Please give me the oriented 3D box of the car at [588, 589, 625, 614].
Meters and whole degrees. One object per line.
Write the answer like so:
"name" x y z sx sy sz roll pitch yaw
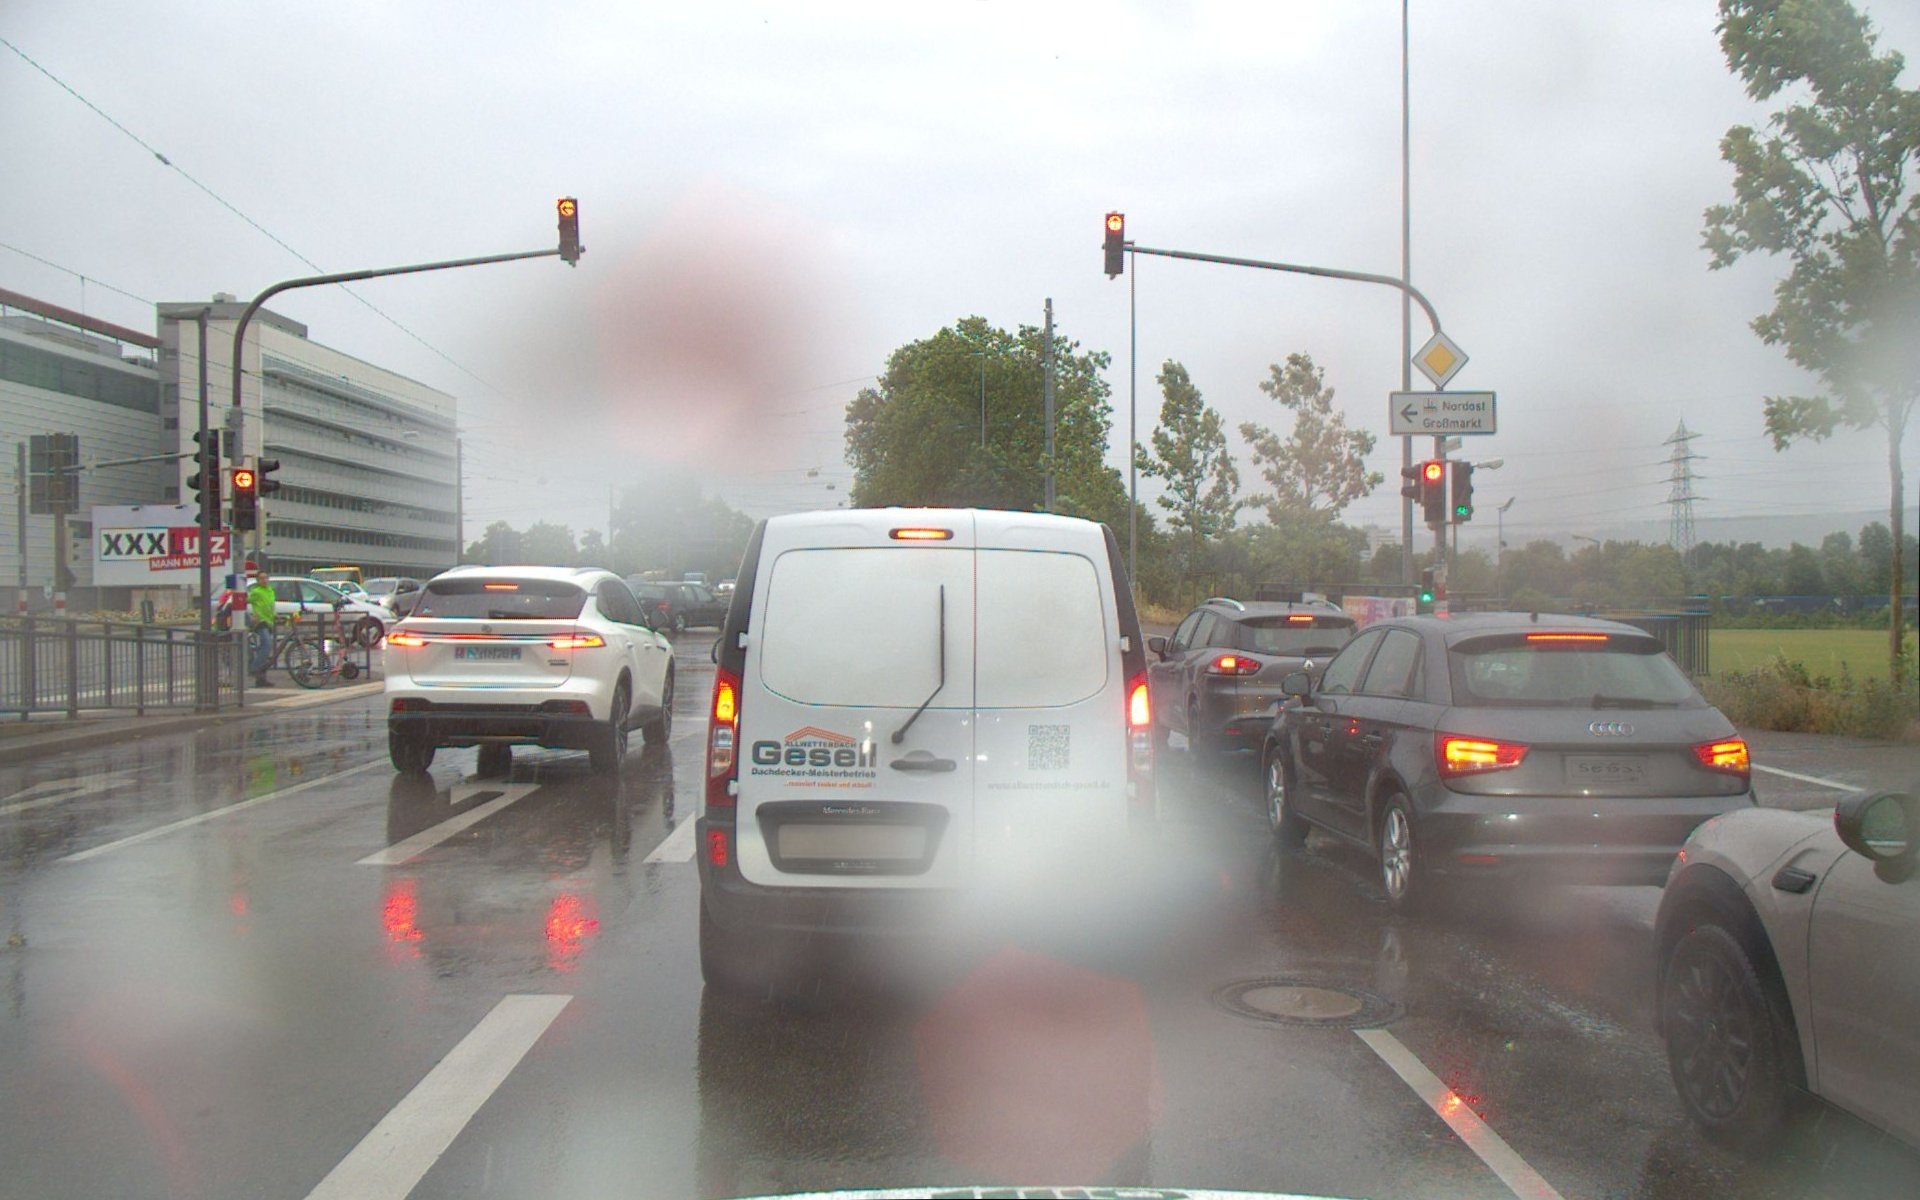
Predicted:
"car" -21.986 0.089 102.934 1.528 1.451 3.568 2 -1 -1

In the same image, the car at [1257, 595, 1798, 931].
"car" 2.799 0.700 8.995 1.565 1.390 3.629 -1 1 -3

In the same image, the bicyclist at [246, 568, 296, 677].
"bicyclist" -9.743 0.316 23.399 0.594 1.517 0.596 1 0 -21

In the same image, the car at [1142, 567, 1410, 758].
"car" 2.822 0.514 15.582 1.650 1.534 3.919 1 0 -2

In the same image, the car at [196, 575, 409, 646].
"car" -14.944 0.250 37.702 4.210 1.452 1.628 3 0 -39

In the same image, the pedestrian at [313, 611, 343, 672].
"pedestrian" -9.692 0.637 25.369 0.309 0.913 0.380 2 0 -3

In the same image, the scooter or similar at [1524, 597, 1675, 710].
"scooter or similar" 7.642 0.595 19.942 0.676 1.232 3.020 0 0 0

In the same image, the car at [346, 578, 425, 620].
"car" -21.759 -0.021 62.752 1.676 1.451 3.808 2 -1 -1

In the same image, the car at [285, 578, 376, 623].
"car" -21.581 0.043 56.848 1.676 1.451 3.808 2 -1 -1

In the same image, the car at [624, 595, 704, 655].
"car" -8.487 0.701 47.693 1.602 1.549 3.774 4 0 -1

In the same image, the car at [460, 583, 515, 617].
"car" -21.973 0.024 77.064 1.528 1.451 3.568 2 -1 -1

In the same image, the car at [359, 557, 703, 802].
"car" -3.600 0.602 14.838 1.891 1.806 4.663 1 0 -1

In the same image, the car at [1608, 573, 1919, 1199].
"car" 2.927 0.745 3.271 1.668 1.534 3.878 3 -1 -1

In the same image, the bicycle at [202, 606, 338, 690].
"bicycle" -9.716 0.677 23.348 1.729 1.157 0.516 1 0 -22

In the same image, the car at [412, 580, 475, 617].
"car" -21.813 -0.041 69.986 1.528 1.451 3.568 2 -1 -1

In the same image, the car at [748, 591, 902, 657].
"car" -3.414 0.634 42.193 3.715 1.533 1.624 3 0 -45

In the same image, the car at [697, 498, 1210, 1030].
"car" -0.164 0.525 7.684 1.719 1.780 4.166 1 1 -4
